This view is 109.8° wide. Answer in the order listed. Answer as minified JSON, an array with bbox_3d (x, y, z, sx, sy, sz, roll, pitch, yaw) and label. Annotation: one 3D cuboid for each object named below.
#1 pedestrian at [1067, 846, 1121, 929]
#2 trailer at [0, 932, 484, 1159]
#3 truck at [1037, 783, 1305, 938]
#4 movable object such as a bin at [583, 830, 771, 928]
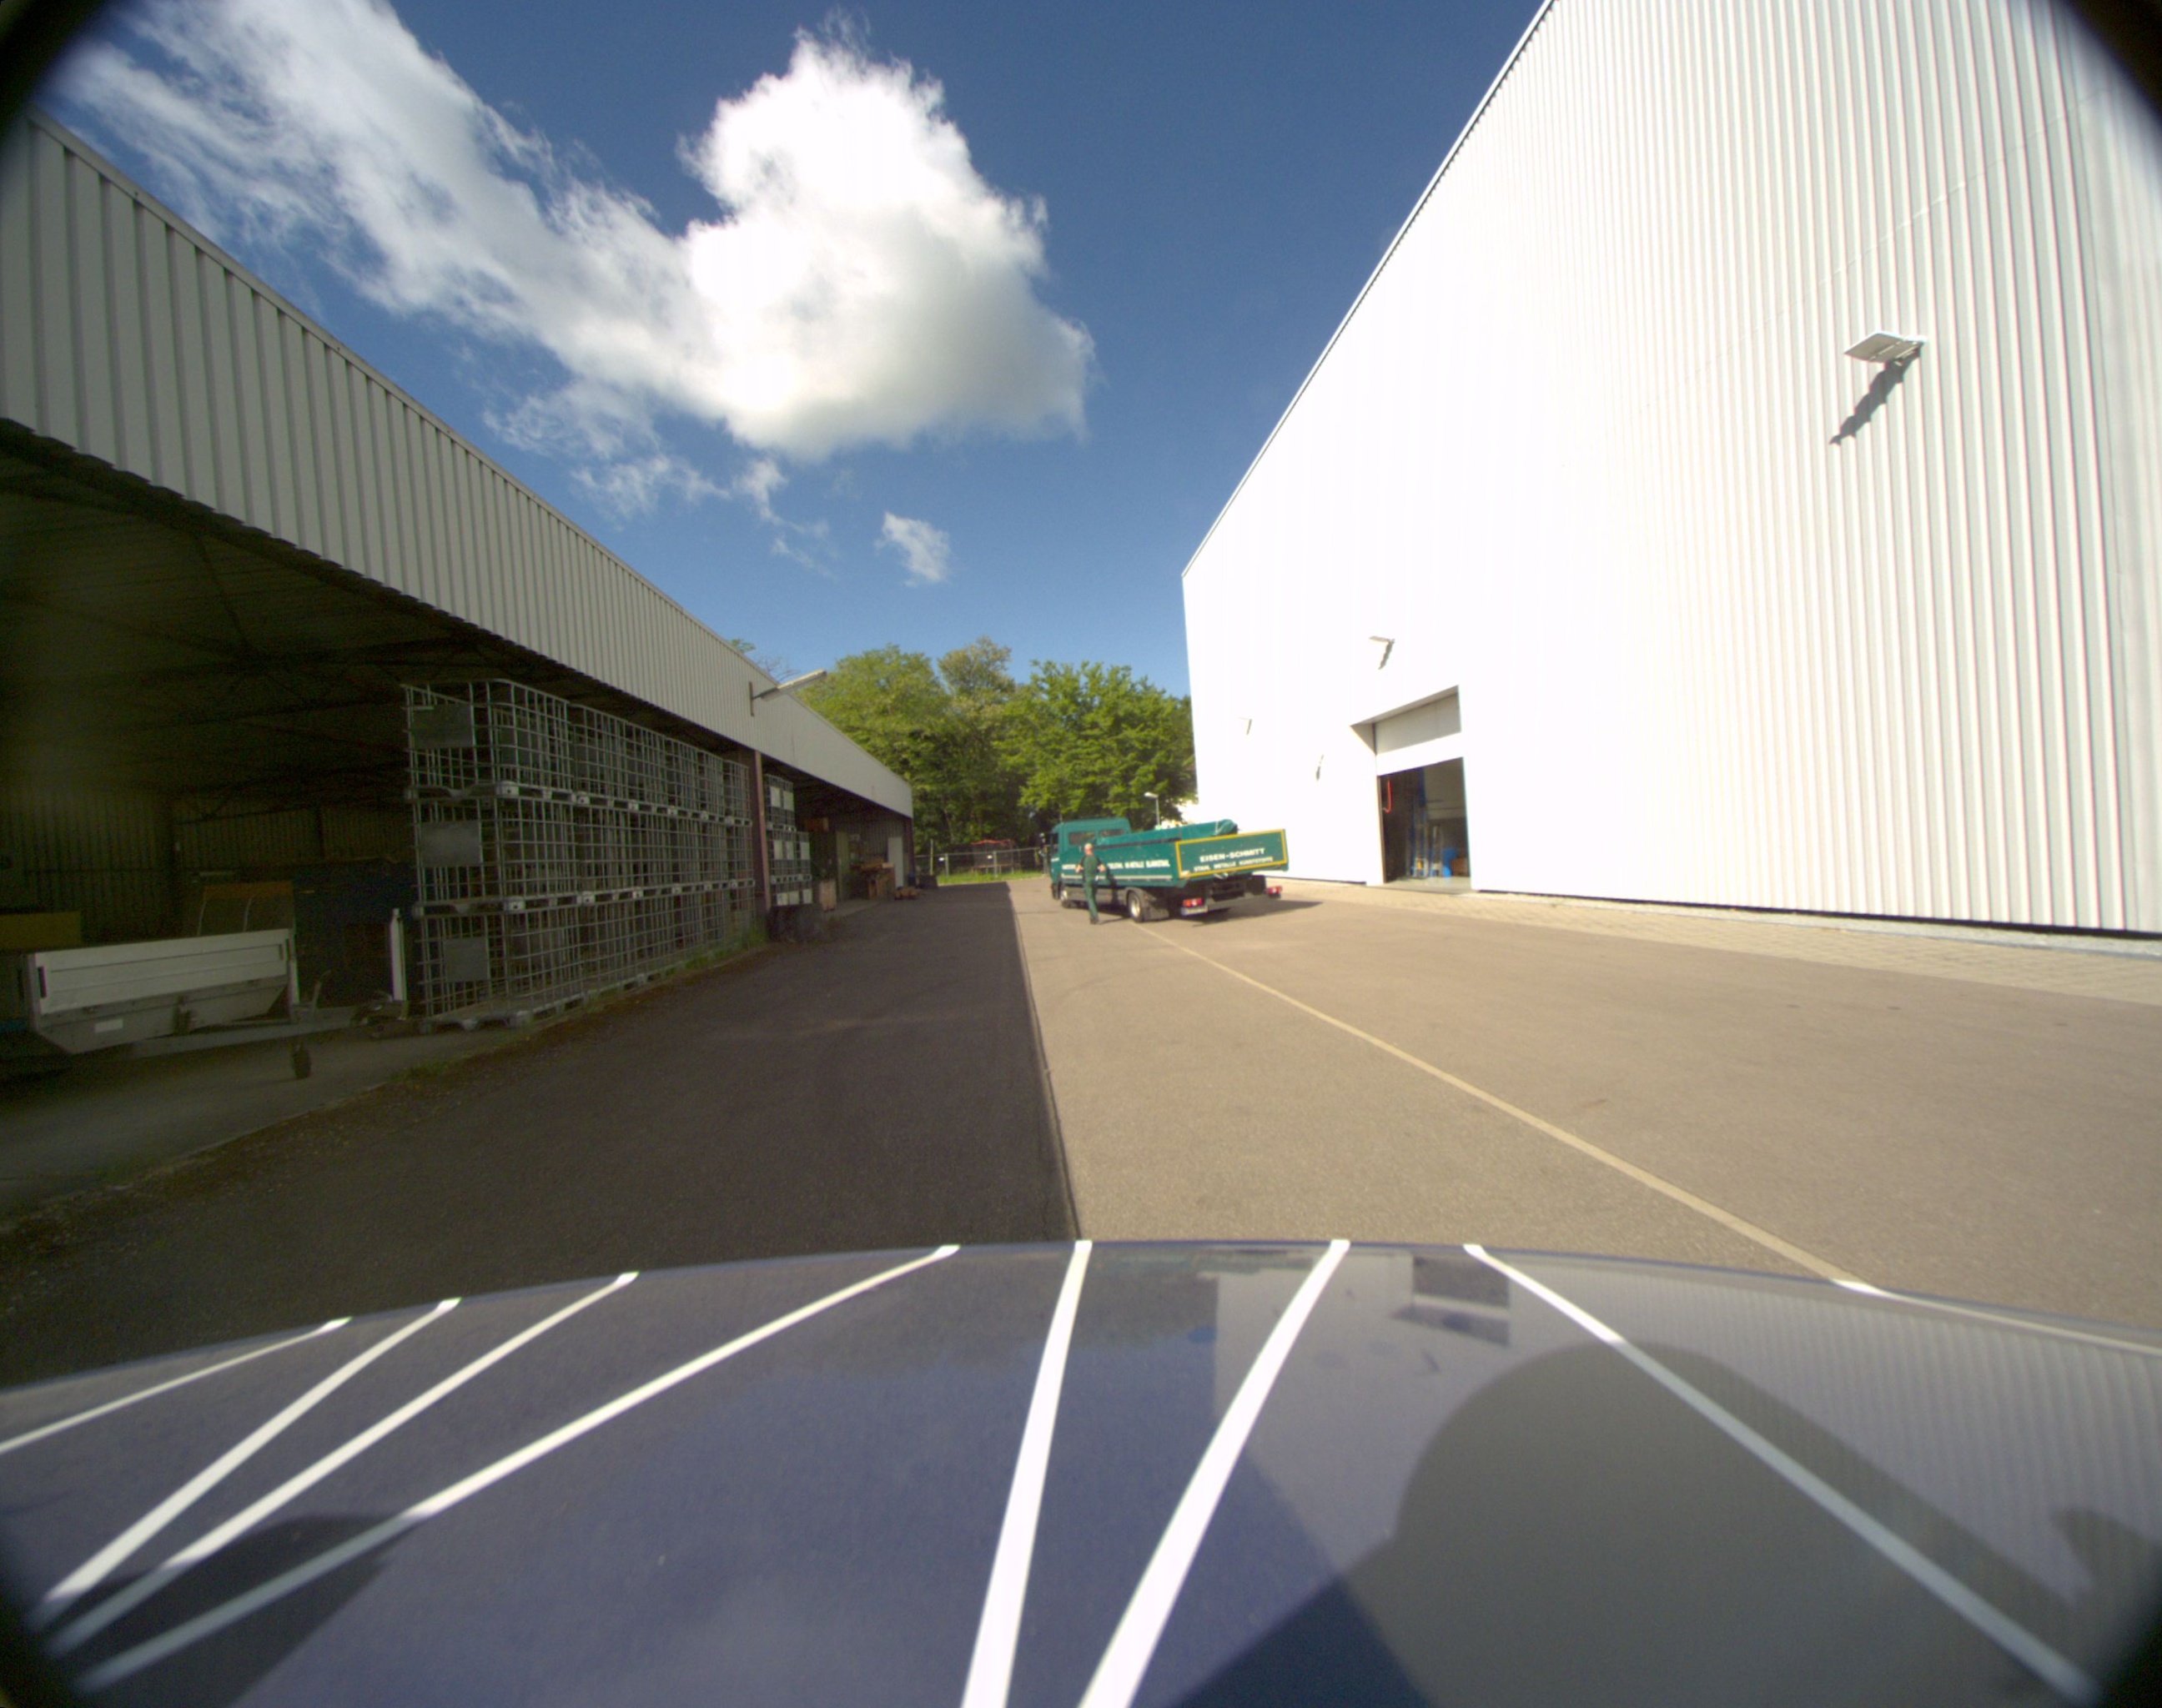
[{"bbox_3d":[0.275,0.734,17.291,0.895,1.792,1.038,-2,1,-18],"label":"pedestrian"},{"bbox_3d":[-8.239,1.435,5.606,5.752,1.126,2.007,-3,0,-7],"label":"trailer"},{"bbox_3d":[1.542,0.190,19.140,2.590,2.701,9.682,-7,1,-18],"label":"truck"},{"bbox_3d":[-12.383,0.744,23.590,4.629,2.706,1.999,-2,-1,-8],"label":"movable object such as a bin"}]
